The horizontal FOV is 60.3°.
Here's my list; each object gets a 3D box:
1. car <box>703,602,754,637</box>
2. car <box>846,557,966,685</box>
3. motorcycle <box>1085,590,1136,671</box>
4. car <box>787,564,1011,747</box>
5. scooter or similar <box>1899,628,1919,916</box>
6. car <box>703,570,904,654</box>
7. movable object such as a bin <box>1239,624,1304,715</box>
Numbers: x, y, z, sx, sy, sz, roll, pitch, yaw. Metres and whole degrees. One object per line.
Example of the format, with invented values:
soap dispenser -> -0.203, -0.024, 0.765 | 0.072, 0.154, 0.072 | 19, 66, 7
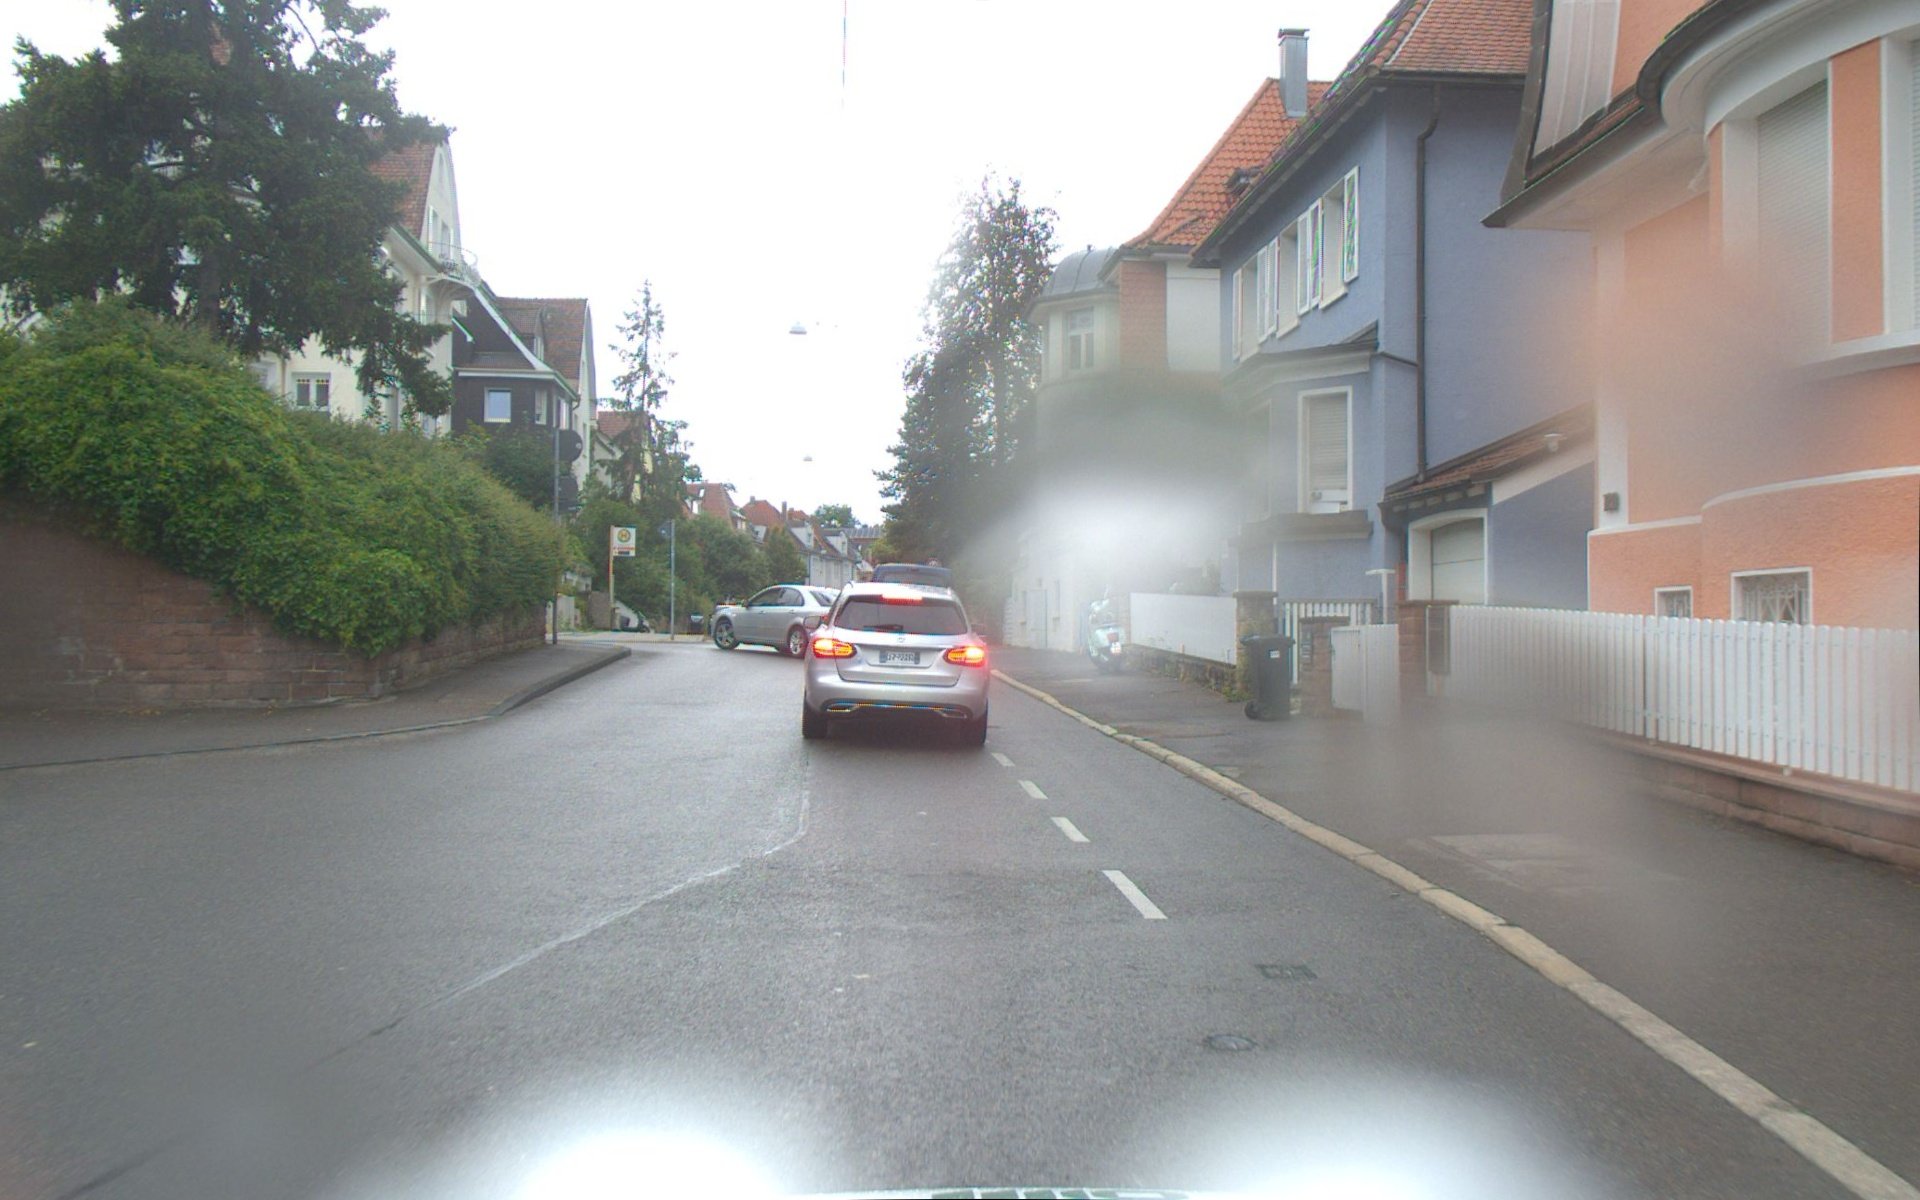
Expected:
car -> -10.587, 0.877, 75.863 | 2.076, 1.497, 4.013 | 0, 1, -5
car -> -0.869, 0.277, 27.197 | 1.787, 1.915, 4.094 | -1, 1, -1
motorcycle -> 2.541, 0.489, 28.122 | 0.570, 1.283, 2.331 | -2, 1, -1
car -> -0.631, 0.465, 16.719 | 1.943, 1.581, 4.296 | 1, 1, -3
scooter or similar -> 4.487, 0.761, 6.707 | 0.678, 1.245, 1.300 | 0, 1, 4
car -> -3.278, 0.205, 34.004 | 1.983, 1.566, 4.267 | 1, 1, -42
movable object such as a bin -> 3.472, 0.766, 18.453 | 0.538, 0.952, 0.633 | -3, 1, -4
